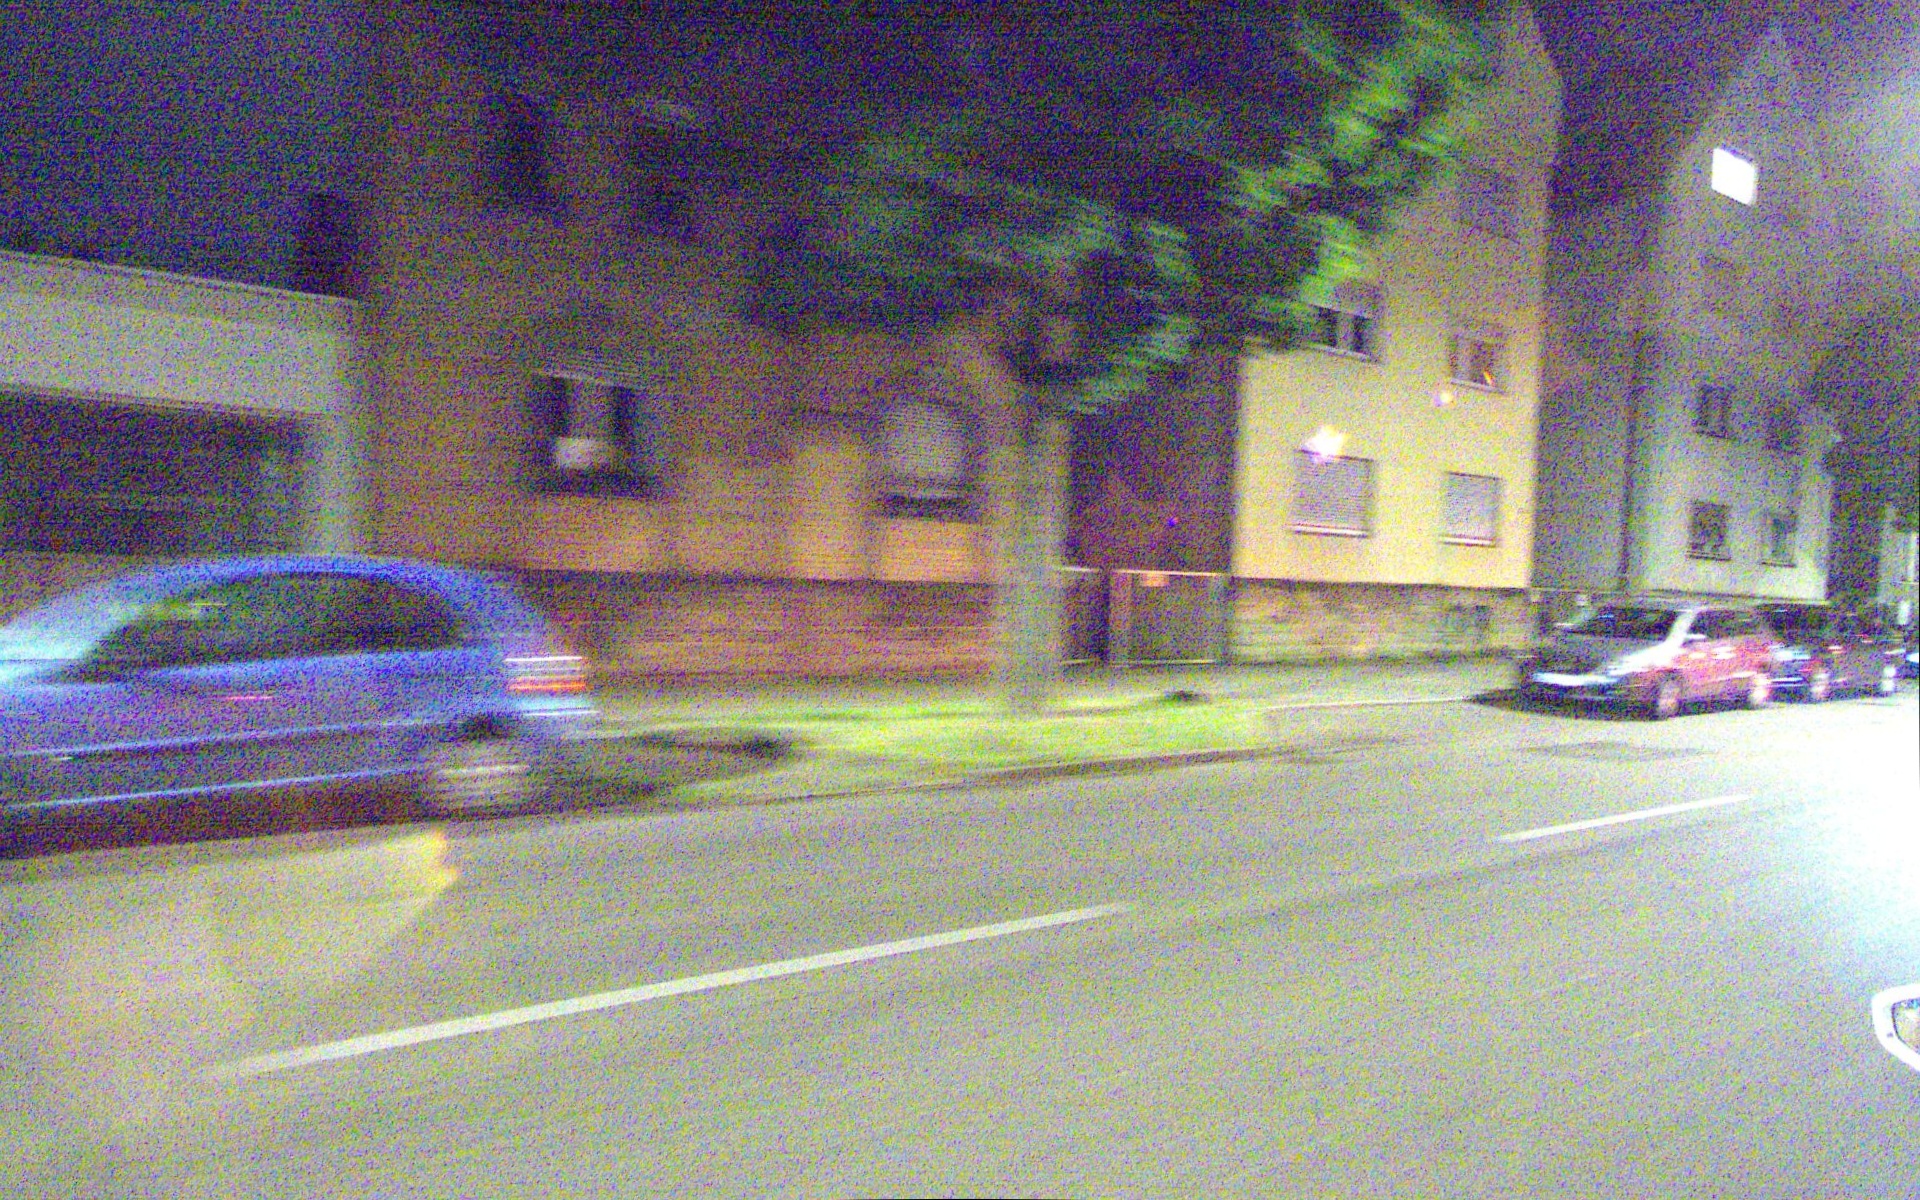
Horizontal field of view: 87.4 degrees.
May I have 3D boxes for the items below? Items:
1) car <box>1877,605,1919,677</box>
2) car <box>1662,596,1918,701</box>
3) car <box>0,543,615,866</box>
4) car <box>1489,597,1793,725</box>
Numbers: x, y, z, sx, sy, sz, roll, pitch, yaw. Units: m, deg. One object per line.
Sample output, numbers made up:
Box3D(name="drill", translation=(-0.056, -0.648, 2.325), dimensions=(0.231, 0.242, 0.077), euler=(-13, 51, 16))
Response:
Box3D(name="car", translation=(20.910, 0.851, 20.921), dimensions=(4.404, 1.401, 1.613), euler=(1, 1, -33))
Box3D(name="car", translation=(13.843, 0.742, 16.677), dimensions=(4.808, 1.505, 1.759), euler=(1, 1, -31))
Box3D(name="car", translation=(-4.232, 0.469, 5.854), dimensions=(3.943, 1.514, 1.705), euler=(1, 2, -31))
Box3D(name="car", translation=(9.602, 0.772, 14.054), dimensions=(4.715, 1.505, 1.758), euler=(1, 1, -32))
